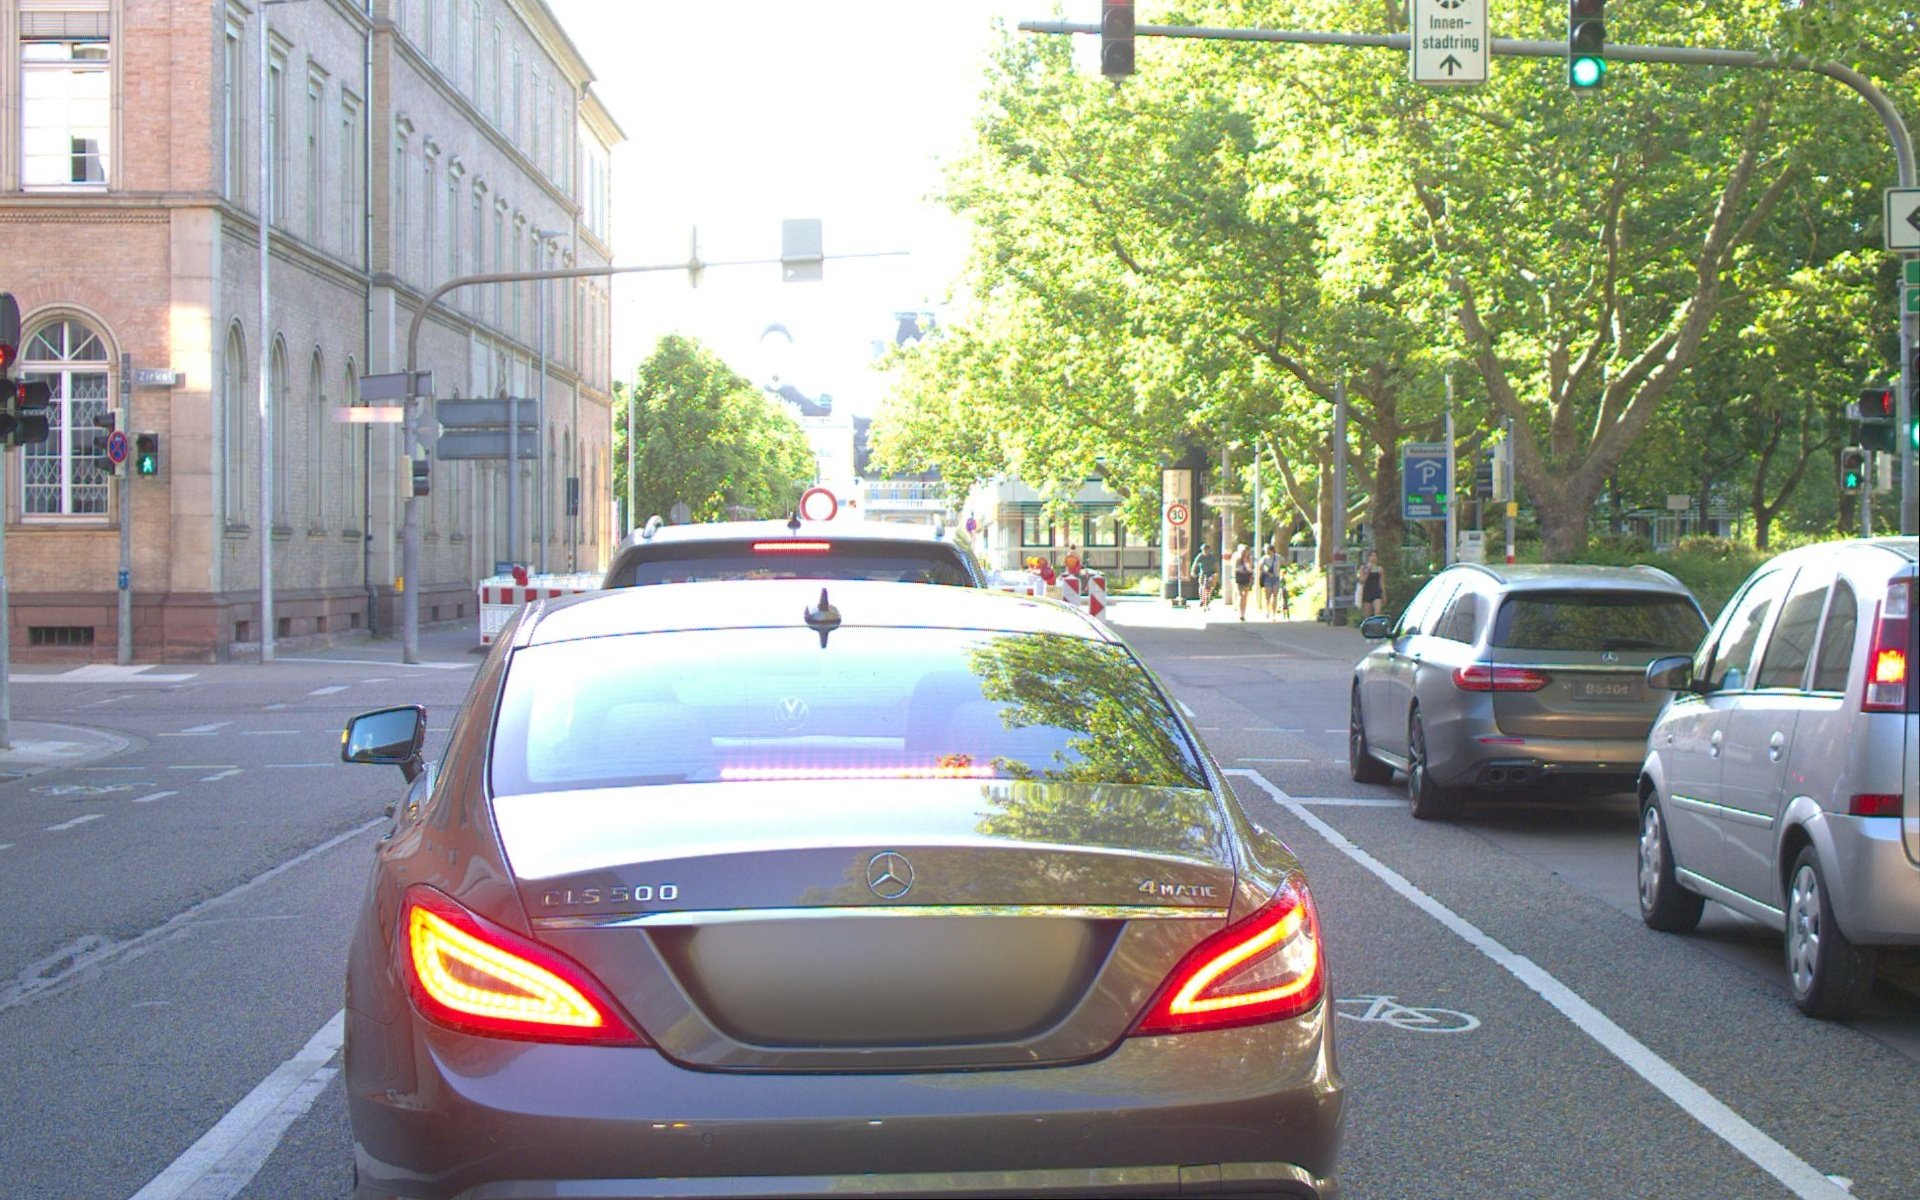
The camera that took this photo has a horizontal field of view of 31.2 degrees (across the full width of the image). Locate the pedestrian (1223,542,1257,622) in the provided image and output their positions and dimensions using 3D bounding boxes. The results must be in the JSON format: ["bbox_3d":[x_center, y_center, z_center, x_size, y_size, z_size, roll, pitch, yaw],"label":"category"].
[{"bbox_3d":[6.347,-0.412,78.038,0.635,1.791,0.699,1,0,-4],"label":"pedestrian"}]

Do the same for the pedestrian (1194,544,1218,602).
[{"bbox_3d":[6.465,-0.703,90.234,0.555,1.504,0.346,1,0,-4],"label":"pedestrian"}]

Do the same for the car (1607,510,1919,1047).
[{"bbox_3d":[3.589,0.543,12.465,1.731,1.656,3.681,1,1,-1],"label":"car"}]

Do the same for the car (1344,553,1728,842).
[{"bbox_3d":[3.319,0.511,20.429,1.601,1.543,3.681,1,1,-1],"label":"car"}]

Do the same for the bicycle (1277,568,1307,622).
[{"bbox_3d":[7.517,-0.113,77.902,0.482,1.198,1.606,1,0,-1],"label":"bicycle"}]

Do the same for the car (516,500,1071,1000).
[{"bbox_3d":[-0.585,0.473,13.619,1.861,1.677,4.000,0,1,-1],"label":"car"}]

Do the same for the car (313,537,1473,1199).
[{"bbox_3d":[-0.364,0.628,7.488,1.861,1.514,4.001,0,1,-8],"label":"car"}]

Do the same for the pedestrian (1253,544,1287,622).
[{"bbox_3d":[7.014,-0.396,77.910,0.635,1.754,0.699,1,0,-4],"label":"pedestrian"}]

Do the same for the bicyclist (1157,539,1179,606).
[{"bbox_3d":[6.353,-0.852,104.992,0.594,2.032,0.566,1,0,-4],"label":"bicyclist"}]

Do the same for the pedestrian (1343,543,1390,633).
[{"bbox_3d":[7.078,-0.212,59.868,0.635,1.540,0.910,1,0,-4],"label":"pedestrian"}]
